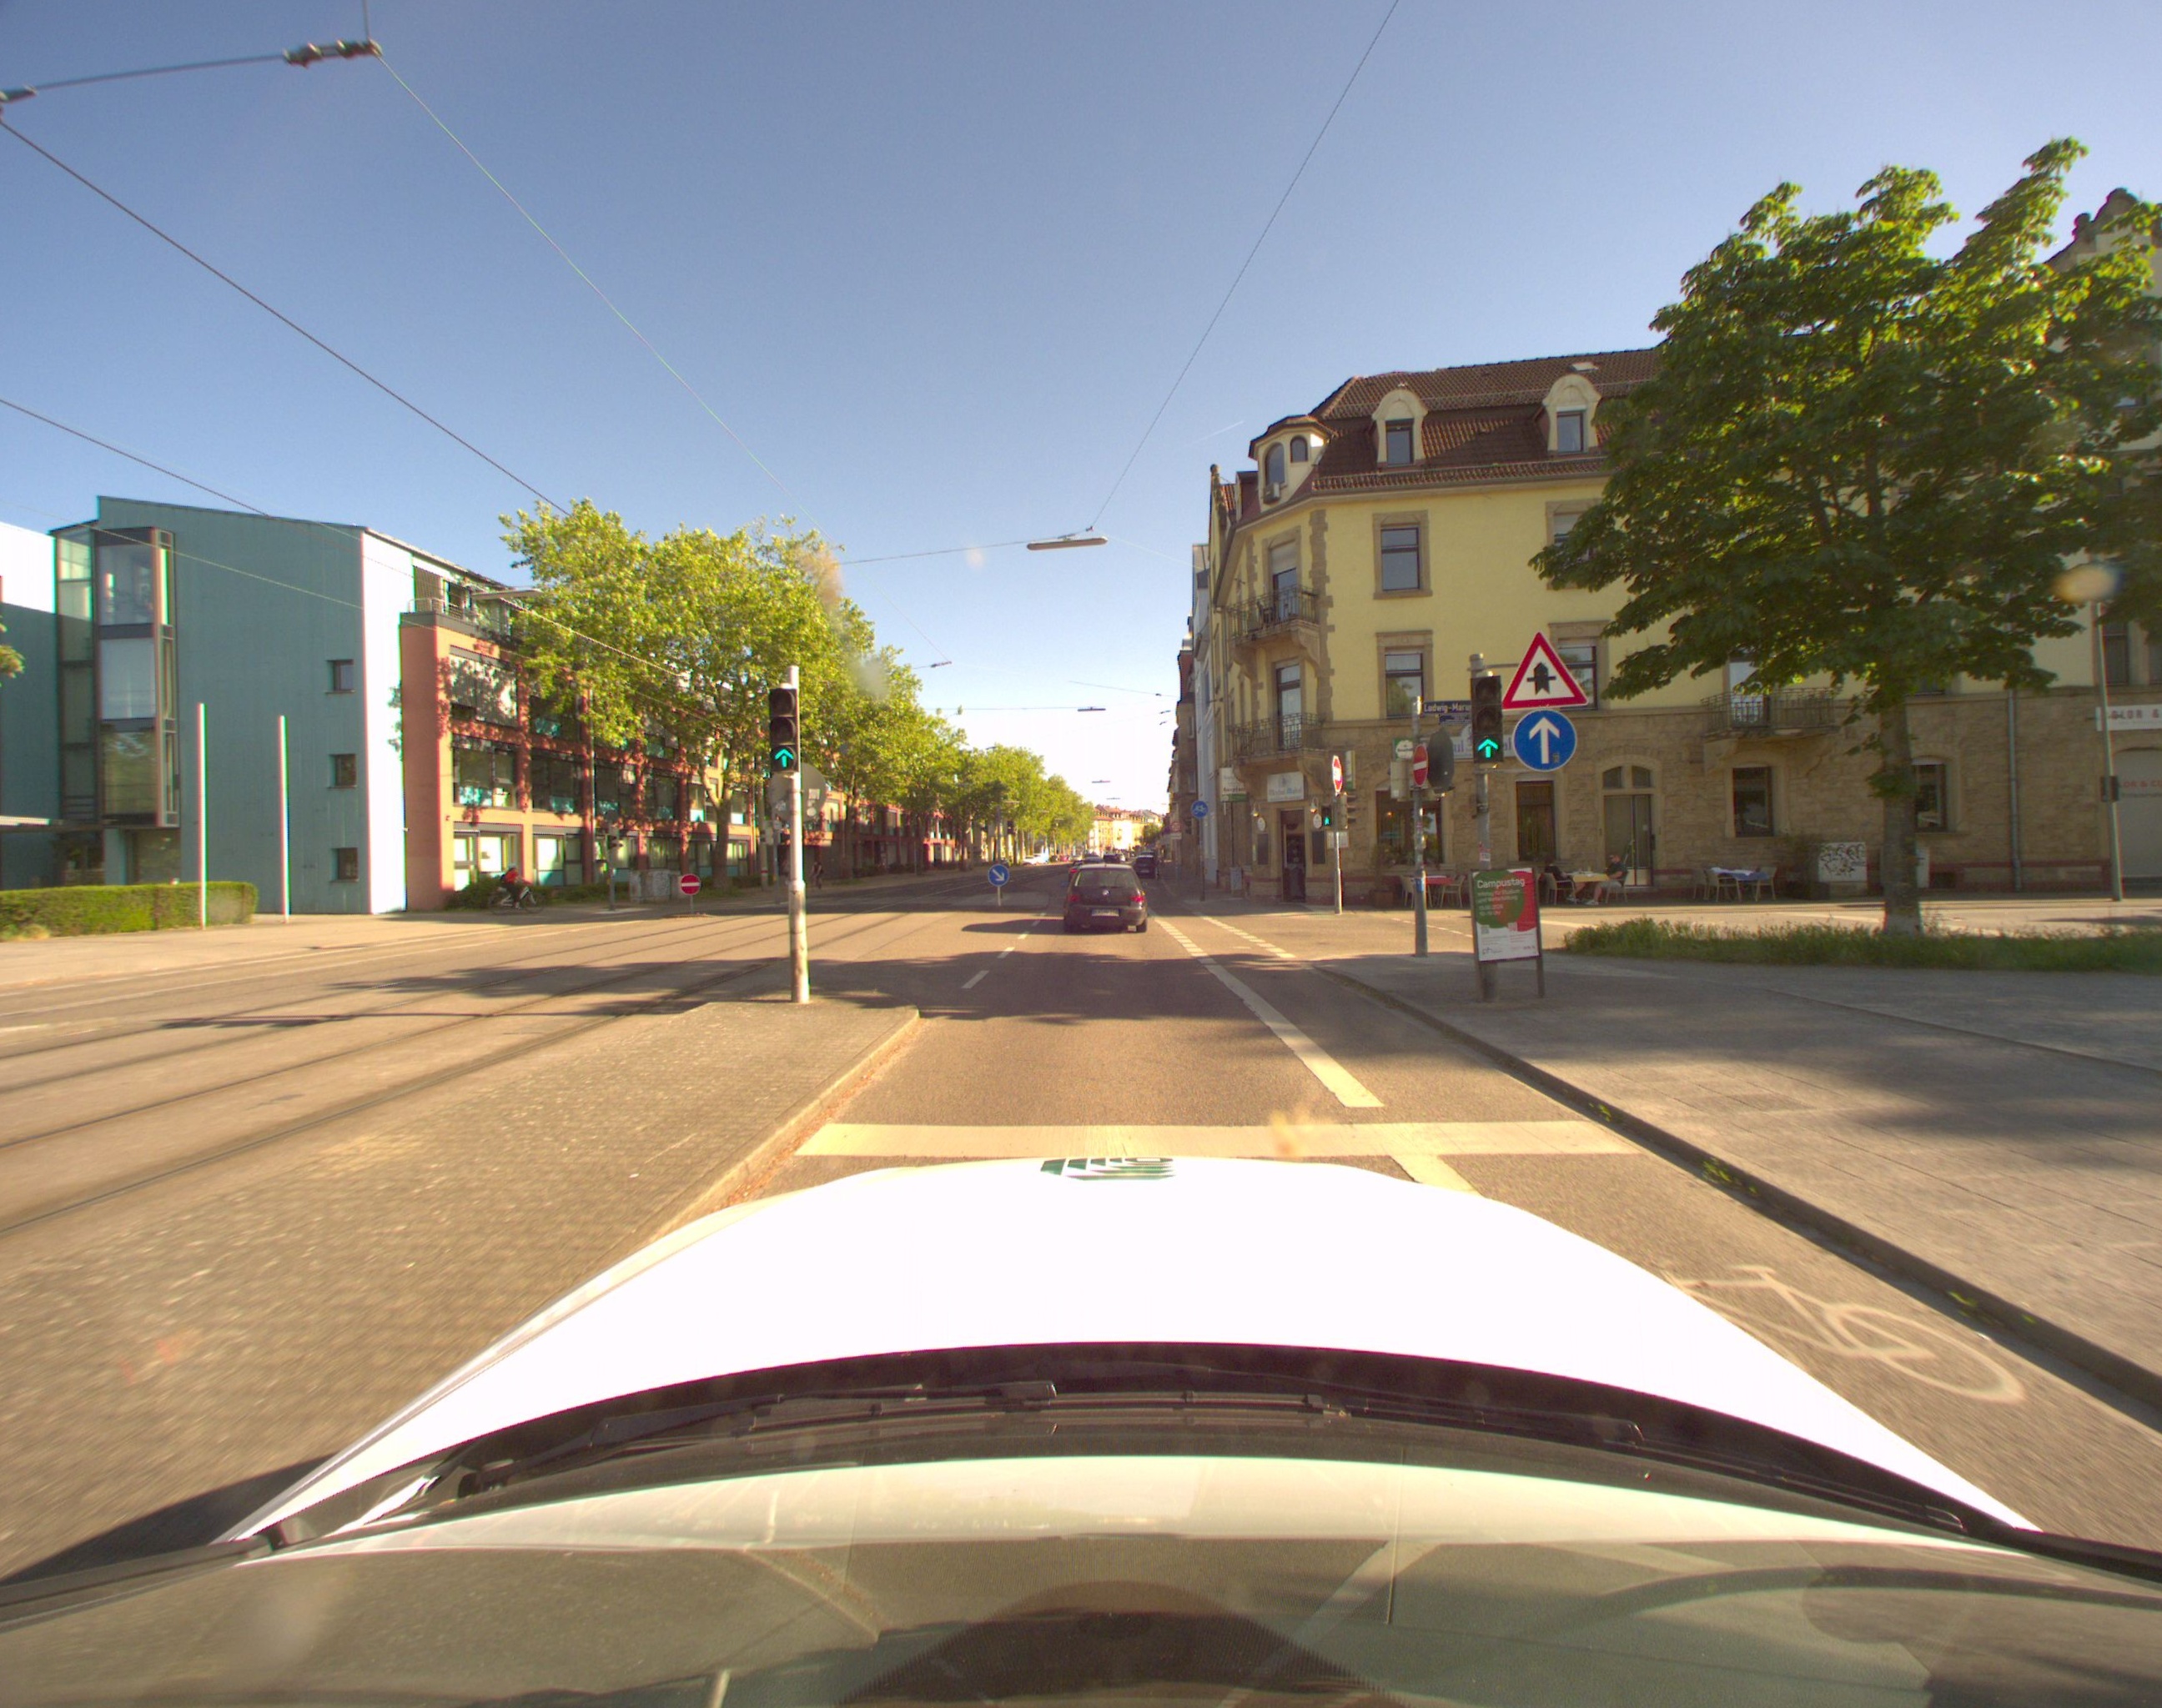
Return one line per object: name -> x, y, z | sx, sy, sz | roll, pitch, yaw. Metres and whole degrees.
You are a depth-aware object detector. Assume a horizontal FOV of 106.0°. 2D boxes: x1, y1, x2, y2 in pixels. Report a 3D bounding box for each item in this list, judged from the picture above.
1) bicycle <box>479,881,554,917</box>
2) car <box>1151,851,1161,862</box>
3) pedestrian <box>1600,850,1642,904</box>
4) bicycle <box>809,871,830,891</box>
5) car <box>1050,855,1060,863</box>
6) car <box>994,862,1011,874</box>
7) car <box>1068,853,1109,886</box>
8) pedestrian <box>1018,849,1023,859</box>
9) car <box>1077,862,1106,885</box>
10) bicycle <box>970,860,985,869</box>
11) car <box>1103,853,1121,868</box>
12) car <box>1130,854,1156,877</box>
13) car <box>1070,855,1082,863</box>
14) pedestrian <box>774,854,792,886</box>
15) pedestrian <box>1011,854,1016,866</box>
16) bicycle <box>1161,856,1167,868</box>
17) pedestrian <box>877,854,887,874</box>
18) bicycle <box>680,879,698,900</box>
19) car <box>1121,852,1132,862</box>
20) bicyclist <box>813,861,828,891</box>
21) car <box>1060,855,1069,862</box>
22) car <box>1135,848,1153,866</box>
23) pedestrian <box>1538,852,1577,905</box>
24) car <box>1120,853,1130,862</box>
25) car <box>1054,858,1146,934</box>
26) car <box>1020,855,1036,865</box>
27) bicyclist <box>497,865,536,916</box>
bicycle -> -19.500, 1.529, 28.173 | 0.625, 1.129, 2.048 | 0, 0, 30
car -> 13.707, 0.449, 148.668 | 1.751, 1.837, 3.552 | 0, 0, 5
pedestrian -> 13.882, 0.567, 20.953 | 0.635, 1.360, 0.703 | 0, 0, 6
bicycle -> -14.520, 1.503, 45.307 | 0.643, 1.042, 1.923 | 0, 0, -4
car -> -5.283, 1.085, 168.159 | 1.563, 1.533, 3.577 | -1, -1, 5
car -> -10.568, 1.932, 109.694 | 1.500, 1.454, 3.468 | -2, -2, 5
car -> 0.438, 0.771, 42.072 | 1.740, 1.537, 3.898 | -2, 0, 5
pedestrian -> -11.491, 0.028, 155.242 | 0.793, 1.820, 0.671 | 0, 0, 4
car -> 0.813, 1.403, 59.632 | 1.740, 1.537, 3.898 | -2, 0, 5
bicycle -> -14.816, 1.438, 116.471 | 1.999, 1.278, 0.665 | 0, 0, 5
car -> 3.233, 0.671, 84.349 | 1.628, 1.472, 3.734 | -1, 0, 5
car -> 4.131, 0.750, 54.485 | 1.647, 1.482, 4.005 | -1, 0, 4
car -> -1.054, 0.965, 169.664 | 1.742, 1.518, 4.083 | -3, 0, 11
pedestrian -> -18.902, 0.992, 51.700 | 0.908, 2.013, 0.780 | 0, 0, -4
pedestrian -> -10.534, 0.894, 126.842 | 0.785, 1.870, 0.669 | 0, 0, -10
bicycle -> 8.477, 0.846, 82.856 | 0.512, 1.139, 2.261 | -3, 0, 4
pedestrian -> -17.762, 0.882, 72.556 | 0.622, 1.718, 0.901 | 0, 0, 4
bicycle -> -17.965, 1.600, 37.342 | 0.522, 0.906, 1.534 | -1, 0, -19
car -> 7.418, 0.510, 131.529 | 1.628, 1.472, 3.734 | -2, 0, 5
bicyclist -> -14.514, 1.211, 45.352 | 0.643, 1.611, 0.780 | 0, 0, -4
car -> -3.798, 1.137, 184.913 | 1.563, 1.533, 3.577 | -1, -1, 5
car -> 6.630, 0.290, 85.135 | 1.744, 1.855, 4.822 | -1, 0, 5
pedestrian -> 12.364, 0.628, 21.146 | 0.635, 1.360, 0.703 | 0, 0, 6
car -> 8.020, 0.614, 147.954 | 1.628, 1.472, 3.734 | -1, 0, 5
car -> 0.496, 0.818, 17.754 | 1.741, 1.375, 4.004 | -2, 0, 4
car -> -8.625, 1.022, 133.903 | 2.003, 1.572, 4.698 | 0, 0, 4
bicyclist -> -19.508, 1.248, 28.158 | 0.599, 1.692, 0.938 | 0, 0, 30
